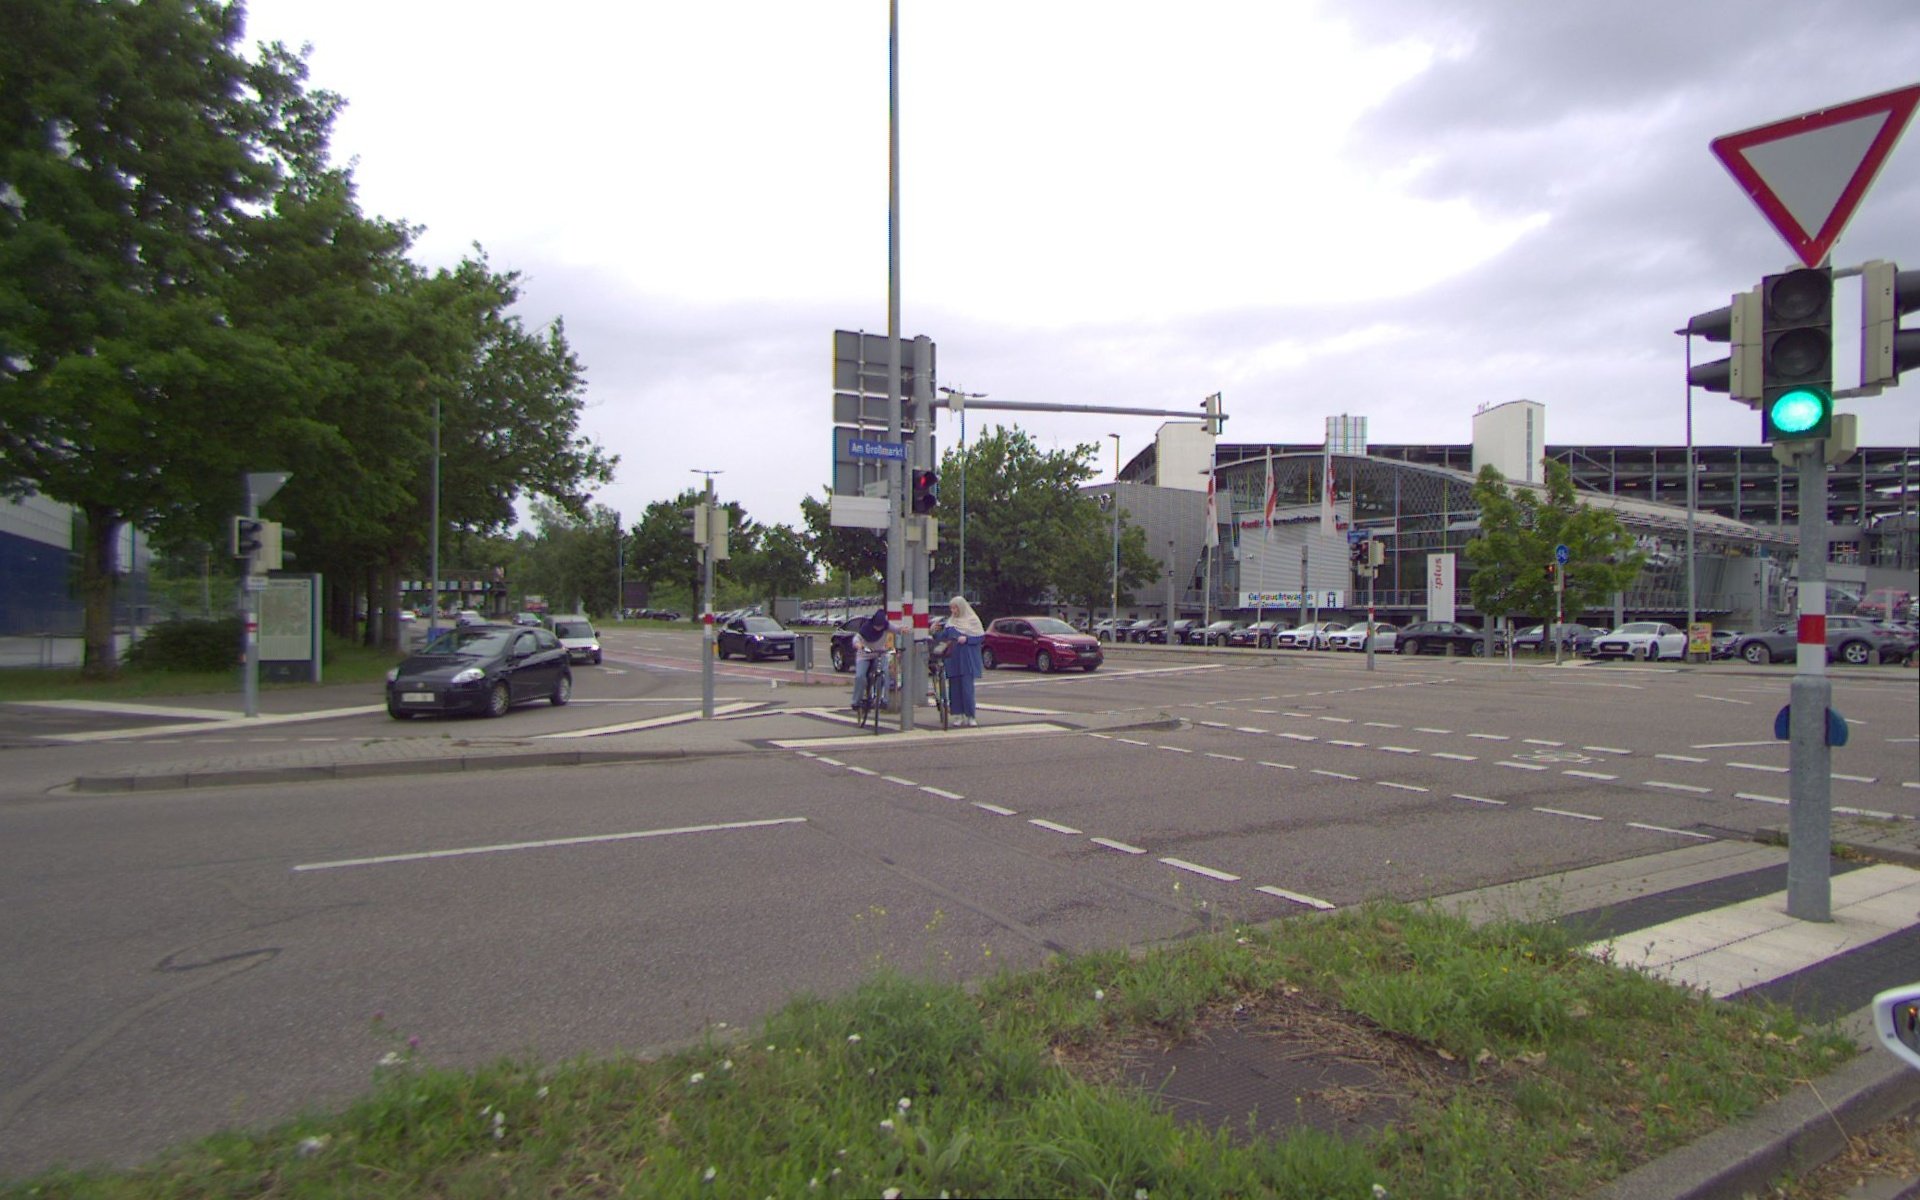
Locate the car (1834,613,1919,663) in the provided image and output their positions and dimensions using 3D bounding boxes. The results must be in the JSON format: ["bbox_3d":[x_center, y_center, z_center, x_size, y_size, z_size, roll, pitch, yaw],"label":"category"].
[{"bbox_3d":[40.440,1.619,42.488,1.980,2.040,4.862,2,-3,-35],"label":"car"}]

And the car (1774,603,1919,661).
[{"bbox_3d":[34.106,1.238,37.770,2.243,2.040,4.991,2,-3,-34],"label":"car"}]

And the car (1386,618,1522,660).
[{"bbox_3d":[20.171,1.569,41.176,1.873,1.505,4.712,4,-3,-33],"label":"car"}]

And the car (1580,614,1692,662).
[{"bbox_3d":[23.875,1.356,35.422,4.186,1.505,1.858,3,-3,-34],"label":"car"}]

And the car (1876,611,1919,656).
[{"bbox_3d":[45.026,1.525,45.529,1.980,2.040,4.862,2,-3,-35],"label":"car"}]

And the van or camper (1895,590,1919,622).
[{"bbox_3d":[54.155,0.368,56.096,3.960,1.673,1.981,2,0,-35],"label":"van or camper"}]

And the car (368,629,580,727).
[{"bbox_3d":[-7.939,1.214,16.857,1.693,1.389,4.000,0,-1,-1],"label":"car"}]

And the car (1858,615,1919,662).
[{"bbox_3d":[42.737,1.677,43.886,1.980,2.040,4.862,2,-3,-35],"label":"car"}]

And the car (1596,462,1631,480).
[{"bbox_3d":[82.590,-16.326,127.005,1.960,1.689,4.001,1,0,2],"label":"car"}]

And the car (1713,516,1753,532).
[{"bbox_3d":[97.501,-9.617,126.787,1.960,1.689,4.001,1,0,2],"label":"car"}]

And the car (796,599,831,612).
[{"bbox_3d":[-18.685,0.732,128.369,4.059,1.455,1.713,2,0,-36],"label":"car"}]

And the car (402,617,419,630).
[{"bbox_3d":[-71.661,3.047,131.084,1.841,1.481,4.297,-1,1,-30],"label":"car"}]

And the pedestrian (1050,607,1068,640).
[{"bbox_3d":[5.722,1.341,57.956,0.666,1.895,0.713,3,-2,-32],"label":"pedestrian"}]

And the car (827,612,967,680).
[{"bbox_3d":[-1.842,1.213,28.001,1.868,1.659,4.290,-3,1,-36],"label":"car"}]

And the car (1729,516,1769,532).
[{"bbox_3d":[99.665,-9.533,126.919,1.960,1.689,4.001,1,0,2],"label":"car"}]

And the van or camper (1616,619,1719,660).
[{"bbox_3d":[36.527,2.012,51.955,1.828,1.840,3.962,2,0,-34],"label":"van or camper"}]

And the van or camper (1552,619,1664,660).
[{"bbox_3d":[30.634,1.840,47.589,1.980,1.700,3.962,2,0,-34],"label":"van or camper"}]

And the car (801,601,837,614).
[{"bbox_3d":[-17.682,0.949,125.838,4.059,1.455,1.713,2,0,-36],"label":"car"}]

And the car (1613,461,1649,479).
[{"bbox_3d":[84.957,-16.449,127.206,1.960,1.689,4.001,1,0,2],"label":"car"}]

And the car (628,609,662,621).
[{"bbox_3d":[-41.752,1.942,133.166,3.950,1.455,1.717,2,0,-28],"label":"car"}]

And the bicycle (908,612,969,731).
[{"bbox_3d":[-0.303,0.881,13.006,0.586,1.414,1.932,-1,-1,-7],"label":"bicycle"}]

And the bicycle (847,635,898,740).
[{"bbox_3d":[-1.116,1.038,12.495,0.499,1.181,1.945,3,-2,-7],"label":"bicycle"}]

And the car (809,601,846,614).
[{"bbox_3d":[-16.291,0.949,123.870,4.059,1.455,1.927,2,0,-36],"label":"car"}]

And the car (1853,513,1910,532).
[{"bbox_3d":[117.519,-9.836,128.171,2.168,1.971,5.330,1,0,-2],"label":"car"}]

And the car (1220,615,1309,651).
[{"bbox_3d":[14.691,1.583,48.450,4.189,1.505,1.854,5,-3,-34],"label":"car"}]

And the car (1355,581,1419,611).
[{"bbox_3d":[26.274,-0.228,61.777,3.961,1.684,1.807,2,0,-36],"label":"car"}]

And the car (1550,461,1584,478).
[{"bbox_3d":[77.013,-16.552,127.518,1.960,1.689,4.001,1,0,2],"label":"car"}]

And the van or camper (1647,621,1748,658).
[{"bbox_3d":[39.434,2.108,53.789,1.828,1.734,3.962,2,0,-34],"label":"van or camper"}]

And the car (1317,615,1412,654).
[{"bbox_3d":[17.773,1.529,44.133,4.155,1.505,1.836,5,-3,-34],"label":"car"}]

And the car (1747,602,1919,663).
[{"bbox_3d":[31.576,1.203,36.206,1.980,2.040,4.672,2,-3,-34],"label":"car"}]

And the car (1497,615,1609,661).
[{"bbox_3d":[22.330,1.467,37.757,4.474,1.505,2.049,5,-4,-36],"label":"car"}]

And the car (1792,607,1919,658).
[{"bbox_3d":[36.118,1.302,39.486,2.035,1.901,4.912,2,-3,-36],"label":"car"}]

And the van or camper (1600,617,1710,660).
[{"bbox_3d":[33.535,1.852,48.544,1.828,1.840,3.962,2,0,-34],"label":"van or camper"}]

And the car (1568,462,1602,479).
[{"bbox_3d":[79.405,-16.456,127.657,1.960,1.689,4.001,1,0,2],"label":"car"}]

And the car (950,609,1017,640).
[{"bbox_3d":[1.640,1.717,69.640,4.212,1.622,1.857,9,-3,-35],"label":"car"}]

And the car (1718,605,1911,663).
[{"bbox_3d":[29.457,1.202,34.795,1.980,1.887,4.742,2,-3,-35],"label":"car"}]

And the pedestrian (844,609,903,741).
[{"bbox_3d":[-1.076,0.917,12.442,0.642,1.569,0.649,3,-2,-7],"label":"pedestrian"}]

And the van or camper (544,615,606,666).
[{"bbox_3d":[-14.182,1.485,36.902,1.972,1.744,4.371,0,-3,-23],"label":"van or camper"}]

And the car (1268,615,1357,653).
[{"bbox_3d":[16.221,1.558,46.175,4.003,1.505,1.859,5,-3,-34],"label":"car"}]

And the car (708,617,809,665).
[{"bbox_3d":[-7.309,1.427,36.081,1.868,1.565,4.553,-1,-1,-36],"label":"car"}]

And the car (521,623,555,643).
[{"bbox_3d":[-34.938,2.696,83.111,1.844,1.481,4.290,-1,1,-34],"label":"car"}]

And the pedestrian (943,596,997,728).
[{"bbox_3d":[0.119,0.784,12.921,0.628,1.648,0.692,0,-2,-4],"label":"pedestrian"}]

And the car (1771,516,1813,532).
[{"bbox_3d":[105.013,-9.554,126.813,1.960,1.689,4.001,1,0,2],"label":"car"}]

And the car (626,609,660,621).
[{"bbox_3d":[-41.034,1.941,130.202,3.950,1.455,1.717,2,0,-28],"label":"car"}]
